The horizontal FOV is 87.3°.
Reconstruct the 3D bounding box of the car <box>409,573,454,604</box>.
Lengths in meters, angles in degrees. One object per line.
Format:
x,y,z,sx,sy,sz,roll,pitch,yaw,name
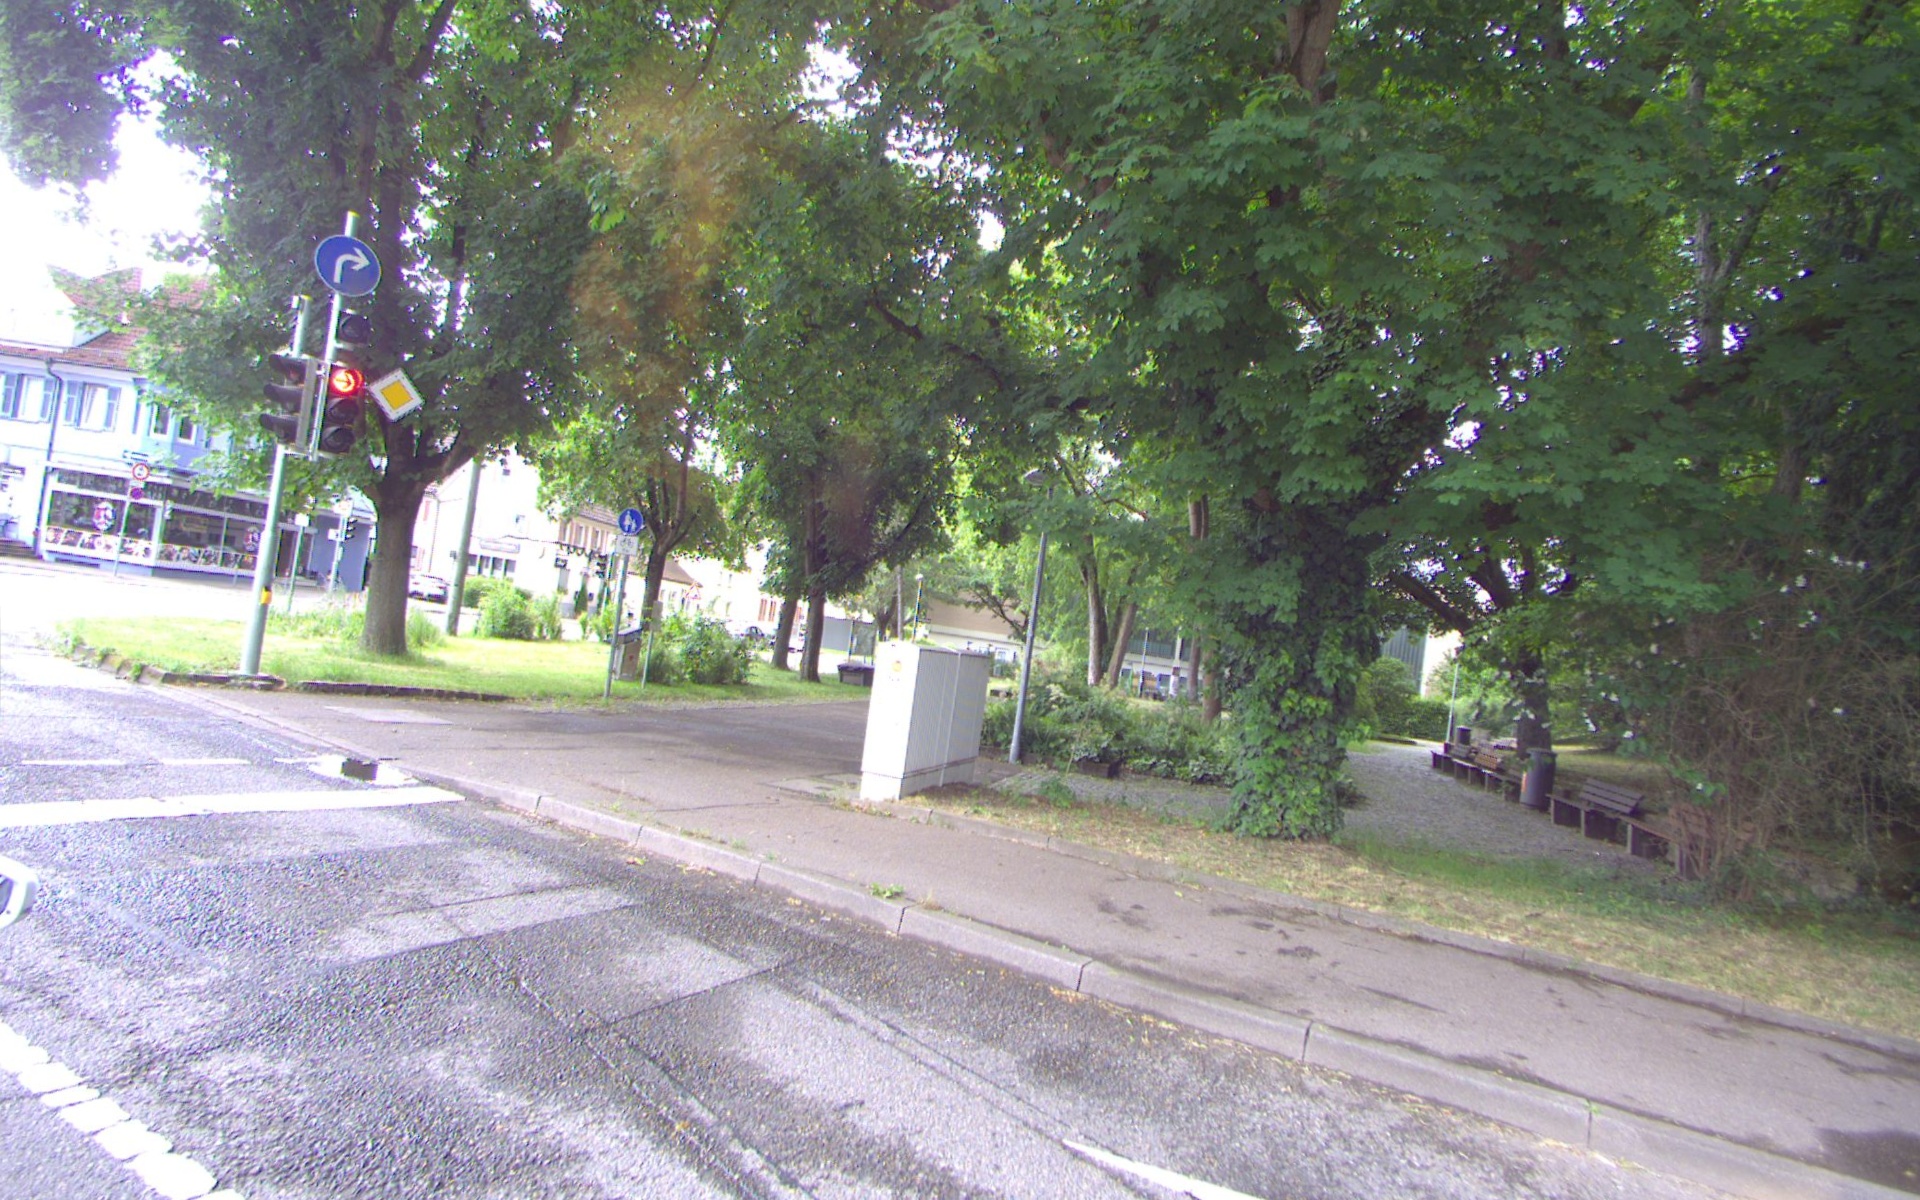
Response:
-27.871,-0.600,53.146,1.479,1.384,3.166,8,-2,-19,car

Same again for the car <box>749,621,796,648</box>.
-11.168,2.074,60.108,1.530,1.336,3.514,7,-2,8,car

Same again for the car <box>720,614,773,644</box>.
-11.569,1.600,54.823,1.530,1.336,3.514,7,-2,9,car

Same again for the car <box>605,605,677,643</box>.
-14.011,1.093,44.358,1.530,1.336,3.514,7,-2,9,car

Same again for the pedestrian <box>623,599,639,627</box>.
-21.043,0.834,64.350,0.600,1.668,0.610,7,-1,3,pedestrian

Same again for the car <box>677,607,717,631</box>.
-19.371,1.447,74.251,1.528,1.436,4.005,7,-2,4,car

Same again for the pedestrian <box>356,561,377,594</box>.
-28.761,-1.087,48.775,0.451,1.535,0.588,7,-1,17,pedestrian

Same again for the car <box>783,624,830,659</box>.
-10.057,2.762,66.176,1.750,2.037,4.005,7,-2,7,car
